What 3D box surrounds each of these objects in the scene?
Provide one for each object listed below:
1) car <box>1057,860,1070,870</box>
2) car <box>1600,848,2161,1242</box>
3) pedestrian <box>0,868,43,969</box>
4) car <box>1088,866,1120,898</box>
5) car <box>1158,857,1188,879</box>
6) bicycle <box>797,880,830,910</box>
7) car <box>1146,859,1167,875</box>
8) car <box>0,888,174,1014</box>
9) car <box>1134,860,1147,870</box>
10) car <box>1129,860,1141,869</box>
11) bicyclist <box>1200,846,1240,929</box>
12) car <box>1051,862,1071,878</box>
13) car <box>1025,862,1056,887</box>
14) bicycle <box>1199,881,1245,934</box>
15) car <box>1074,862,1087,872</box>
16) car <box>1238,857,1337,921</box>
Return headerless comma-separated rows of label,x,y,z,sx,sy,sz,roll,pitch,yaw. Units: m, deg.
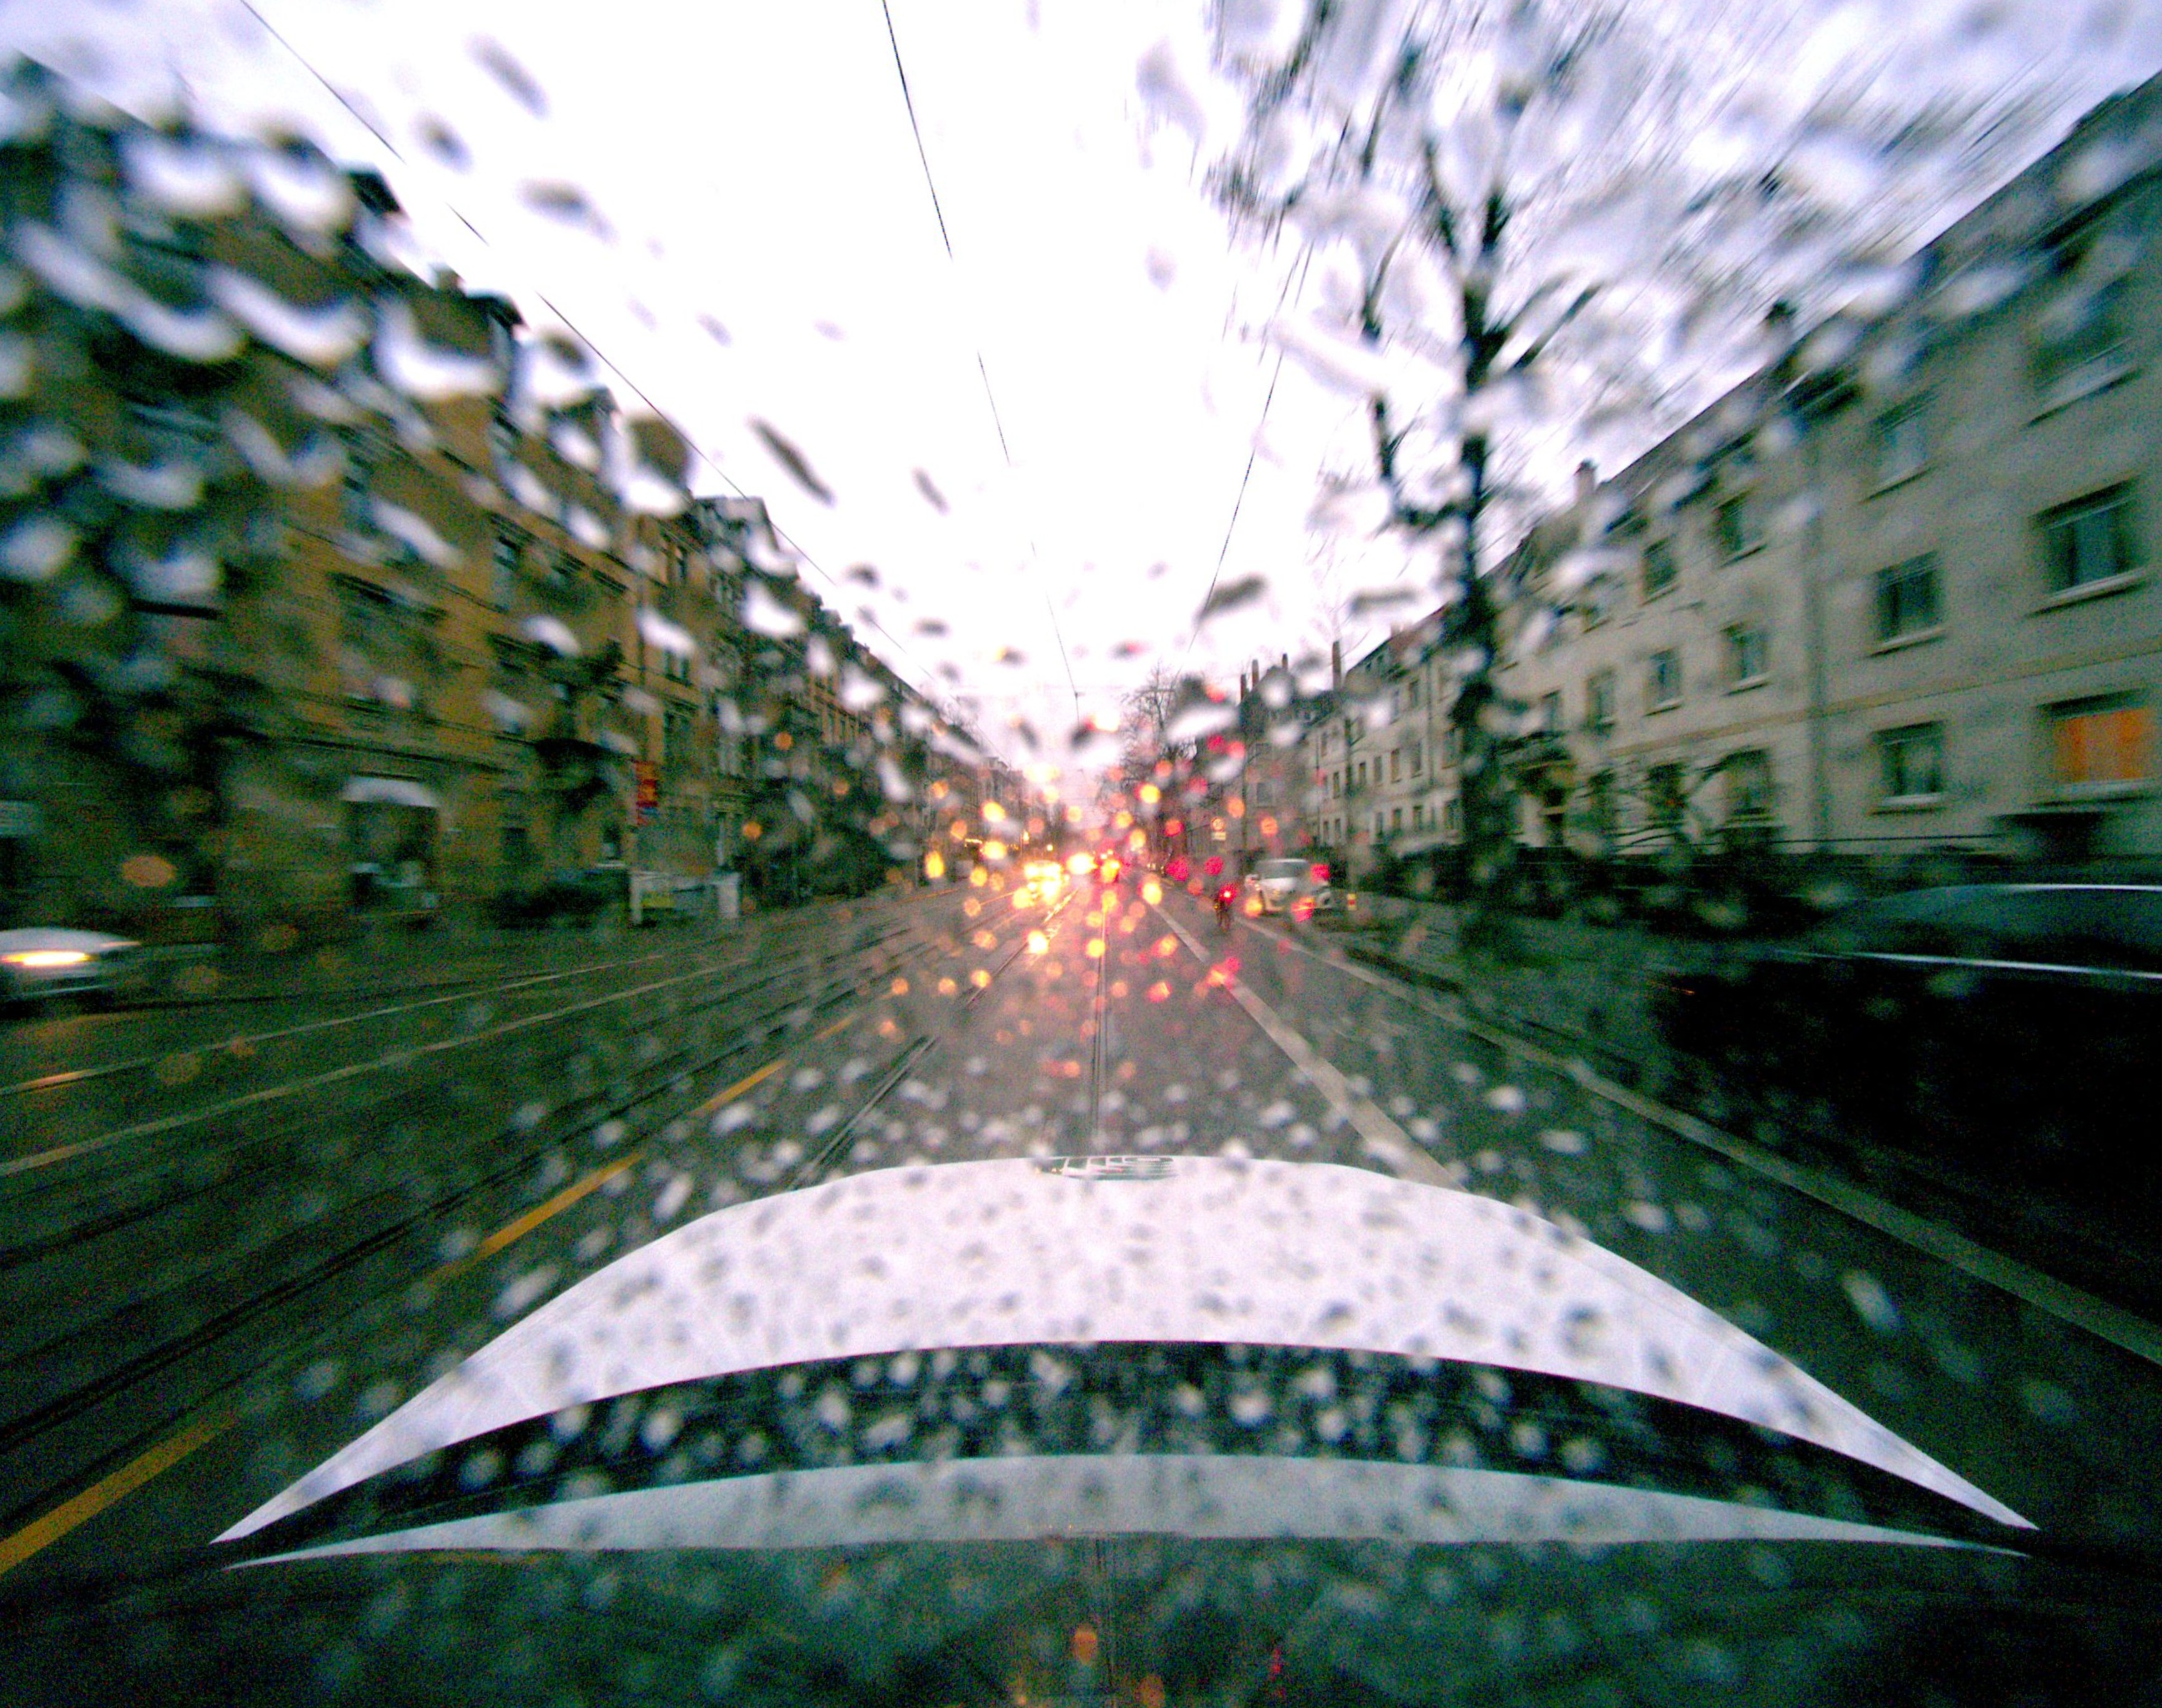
car,-3.009,1.894,140.443,1.916,1.720,4.001,-2,0,2
car,4.916,0.713,3.915,1.875,1.420,4.338,-2,0,-3
pedestrian,-19.434,1.153,14.621,0.712,1.773,0.774,-2,-1,20
car,1.498,1.755,52.320,1.793,1.871,4.023,1,0,5
car,6.722,1.007,59.841,1.778,1.509,4.110,-2,0,2
bicycle,-9.758,1.480,29.760,0.494,1.007,1.765,-2,-1,3
car,7.174,1.228,77.867,1.778,1.509,4.110,-2,0,2
car,-15.278,1.309,10.581,4.182,1.526,1.982,-2,-1,-27
car,9.009,1.654,123.501,1.778,1.509,4.110,-2,0,2
car,9.032,1.777,136.780,1.778,1.509,4.110,-2,0,2
bicyclist,2.992,0.712,17.586,0.727,1.736,0.766,-2,-1,2
car,-2.088,1.673,86.184,1.916,1.662,4.001,-2,0,2
car,-2.903,1.450,59.584,1.916,1.662,4.001,-2,0,2
bicycle,3.010,1.123,17.525,0.728,1.007,1.765,-2,-1,3
car,-0.089,2.103,133.666,1.916,1.662,4.001,-2,0,2
car,5.451,0.878,22.013,1.778,1.509,4.111,-2,0,3
